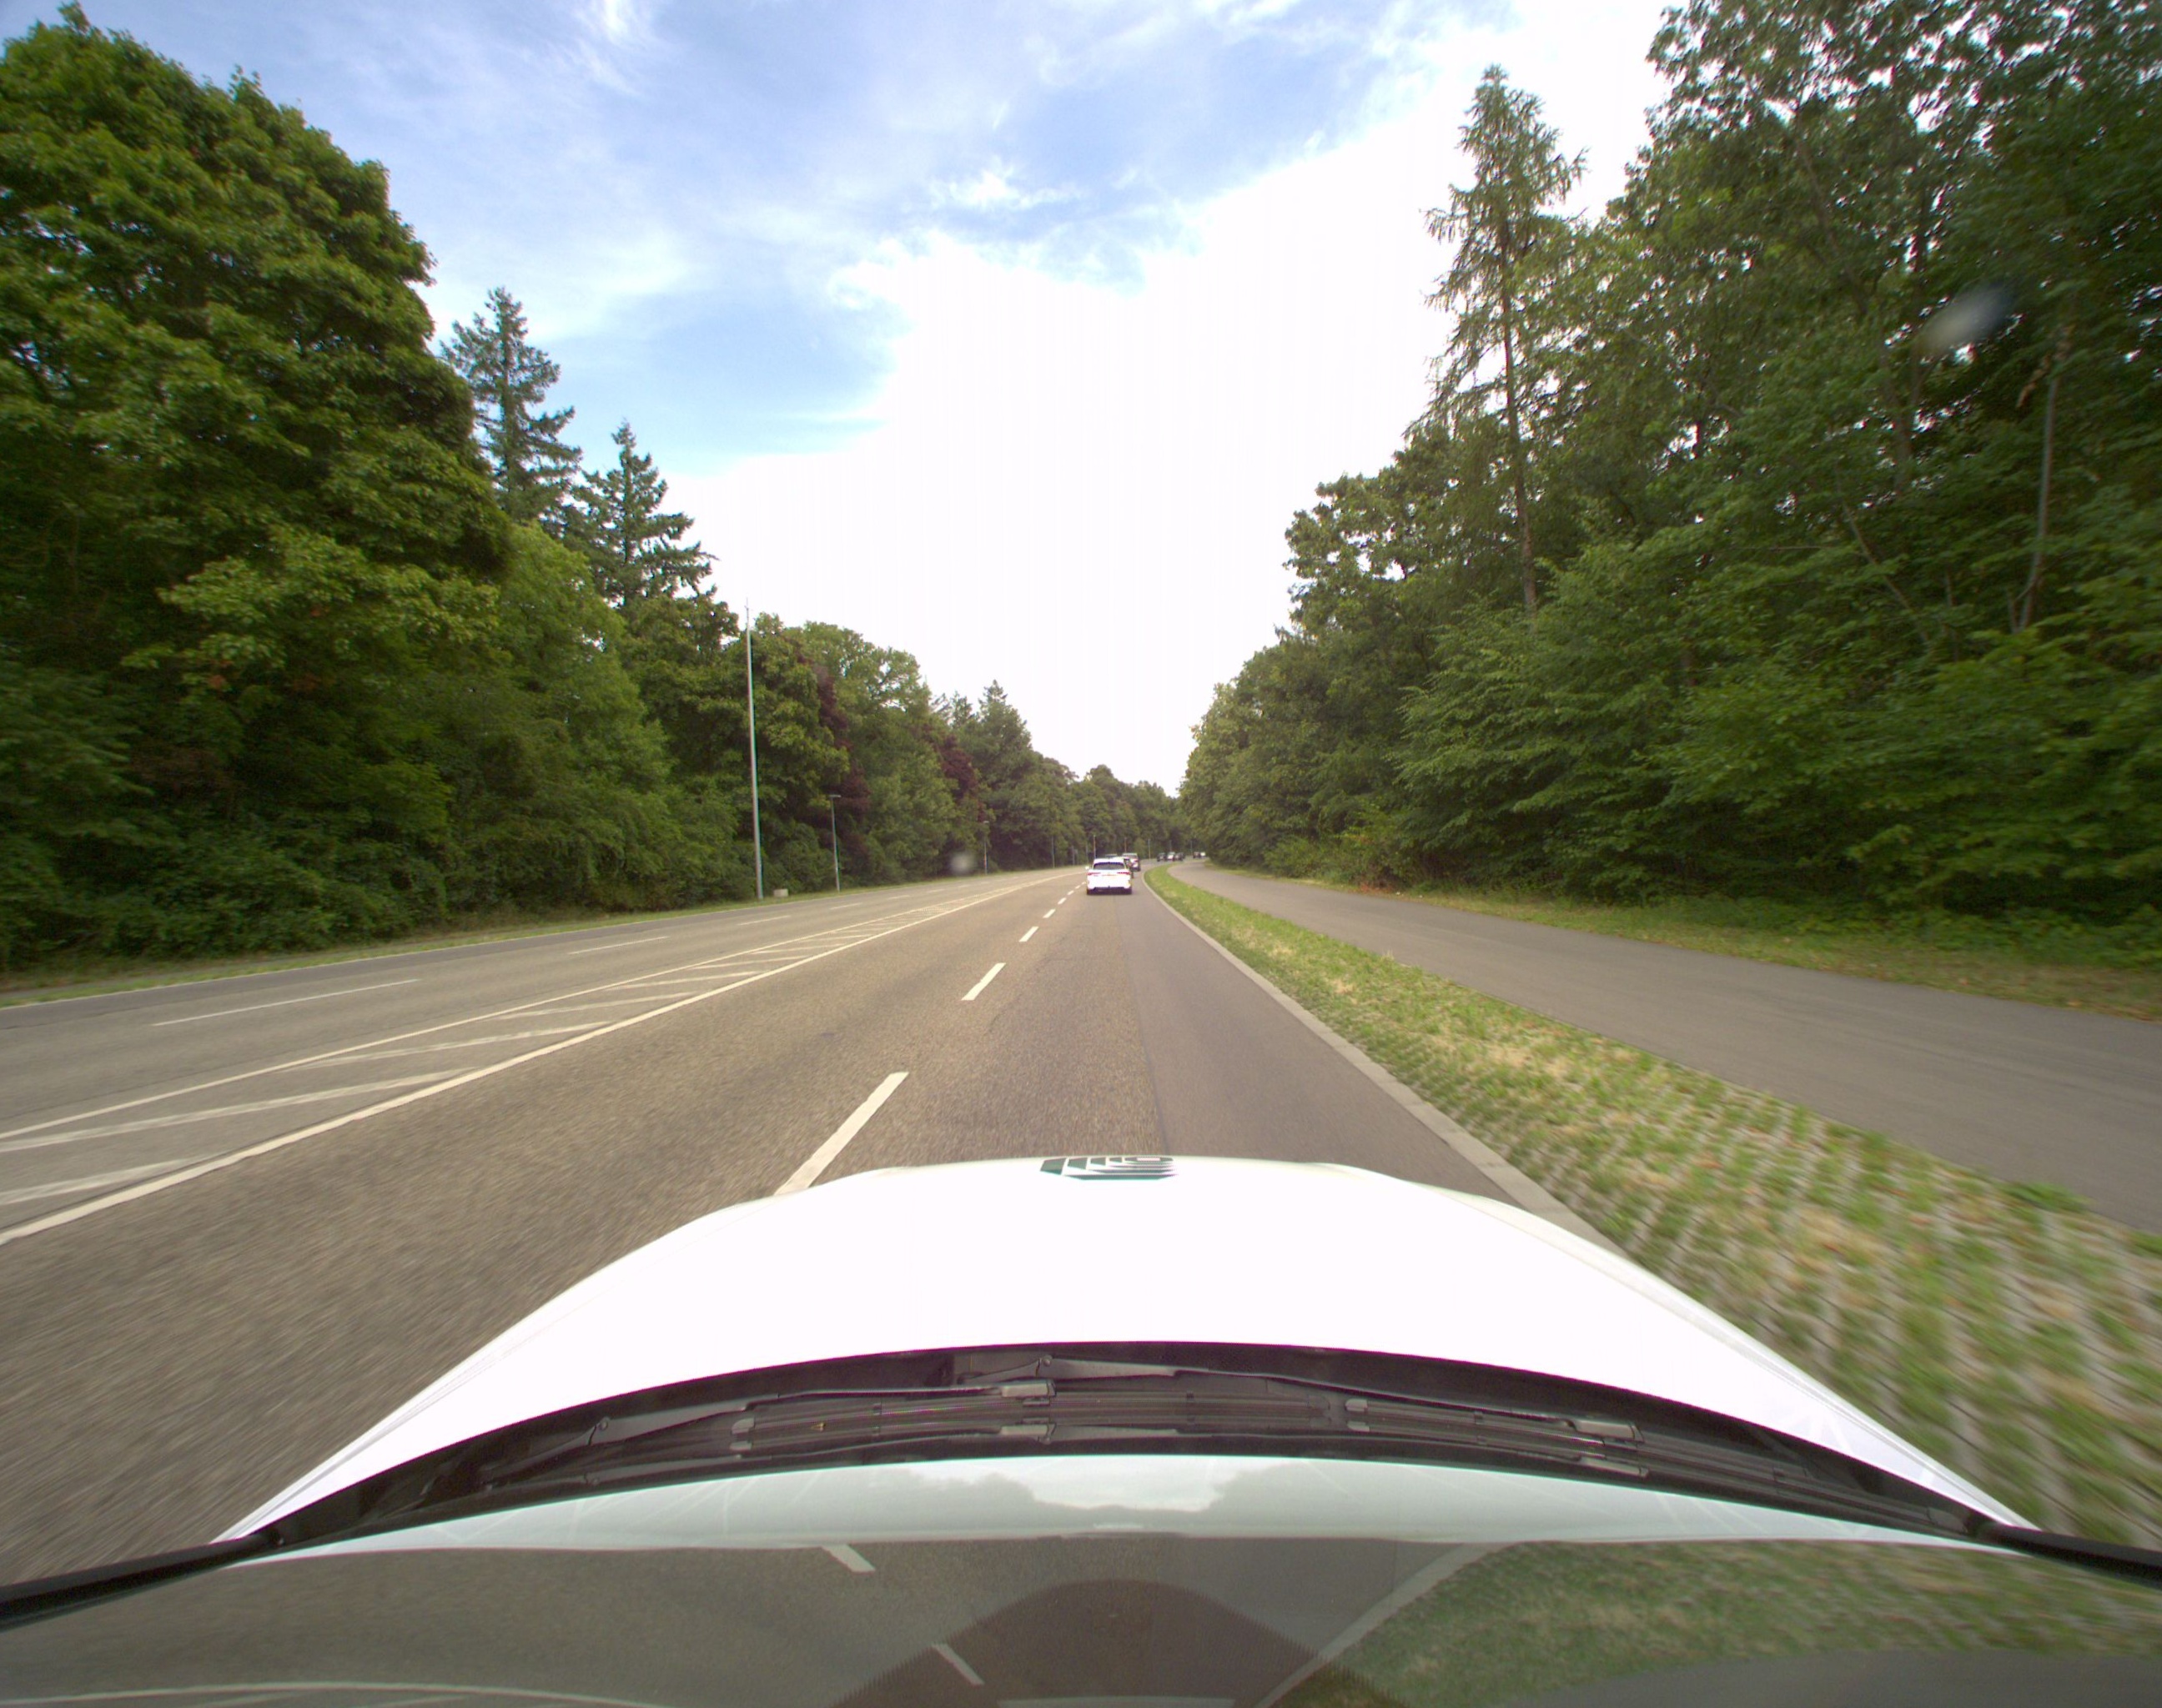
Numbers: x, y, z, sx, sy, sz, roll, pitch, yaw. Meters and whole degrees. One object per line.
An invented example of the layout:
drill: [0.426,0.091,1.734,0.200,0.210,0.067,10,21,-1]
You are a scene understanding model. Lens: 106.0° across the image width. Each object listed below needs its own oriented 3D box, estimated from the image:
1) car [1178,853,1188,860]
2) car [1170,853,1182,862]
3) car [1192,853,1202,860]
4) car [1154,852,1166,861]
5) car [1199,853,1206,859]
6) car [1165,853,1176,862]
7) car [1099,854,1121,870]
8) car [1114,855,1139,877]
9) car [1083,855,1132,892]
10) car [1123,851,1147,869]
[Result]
car: [24.968,0.663,199.011,1.979,1.783,4.016,0,-1,15]
car: [18.744,0.712,160.586,1.980,1.783,4.013,0,-1,12]
car: [29.364,0.564,205.675,1.978,1.783,4.017,0,-1,17]
car: [15.882,0.511,163.336,1.981,1.783,4.011,0,-1,11]
car: [36.640,0.499,245.962,1.875,1.816,4.015,0,-1,14]
car: [19.941,0.799,180.925,1.980,1.783,4.014,0,-1,13]
car: [3.225,0.914,90.413,1.982,1.787,4.009,0,-1,8]
car: [3.074,0.788,54.926,1.628,1.420,4.004,0,-1,4]
car: [1.071,0.779,33.182,1.829,1.410,4.492,0,-1,2]
car: [5.107,0.589,76.771,1.983,1.607,4.007,0,-1,6]
